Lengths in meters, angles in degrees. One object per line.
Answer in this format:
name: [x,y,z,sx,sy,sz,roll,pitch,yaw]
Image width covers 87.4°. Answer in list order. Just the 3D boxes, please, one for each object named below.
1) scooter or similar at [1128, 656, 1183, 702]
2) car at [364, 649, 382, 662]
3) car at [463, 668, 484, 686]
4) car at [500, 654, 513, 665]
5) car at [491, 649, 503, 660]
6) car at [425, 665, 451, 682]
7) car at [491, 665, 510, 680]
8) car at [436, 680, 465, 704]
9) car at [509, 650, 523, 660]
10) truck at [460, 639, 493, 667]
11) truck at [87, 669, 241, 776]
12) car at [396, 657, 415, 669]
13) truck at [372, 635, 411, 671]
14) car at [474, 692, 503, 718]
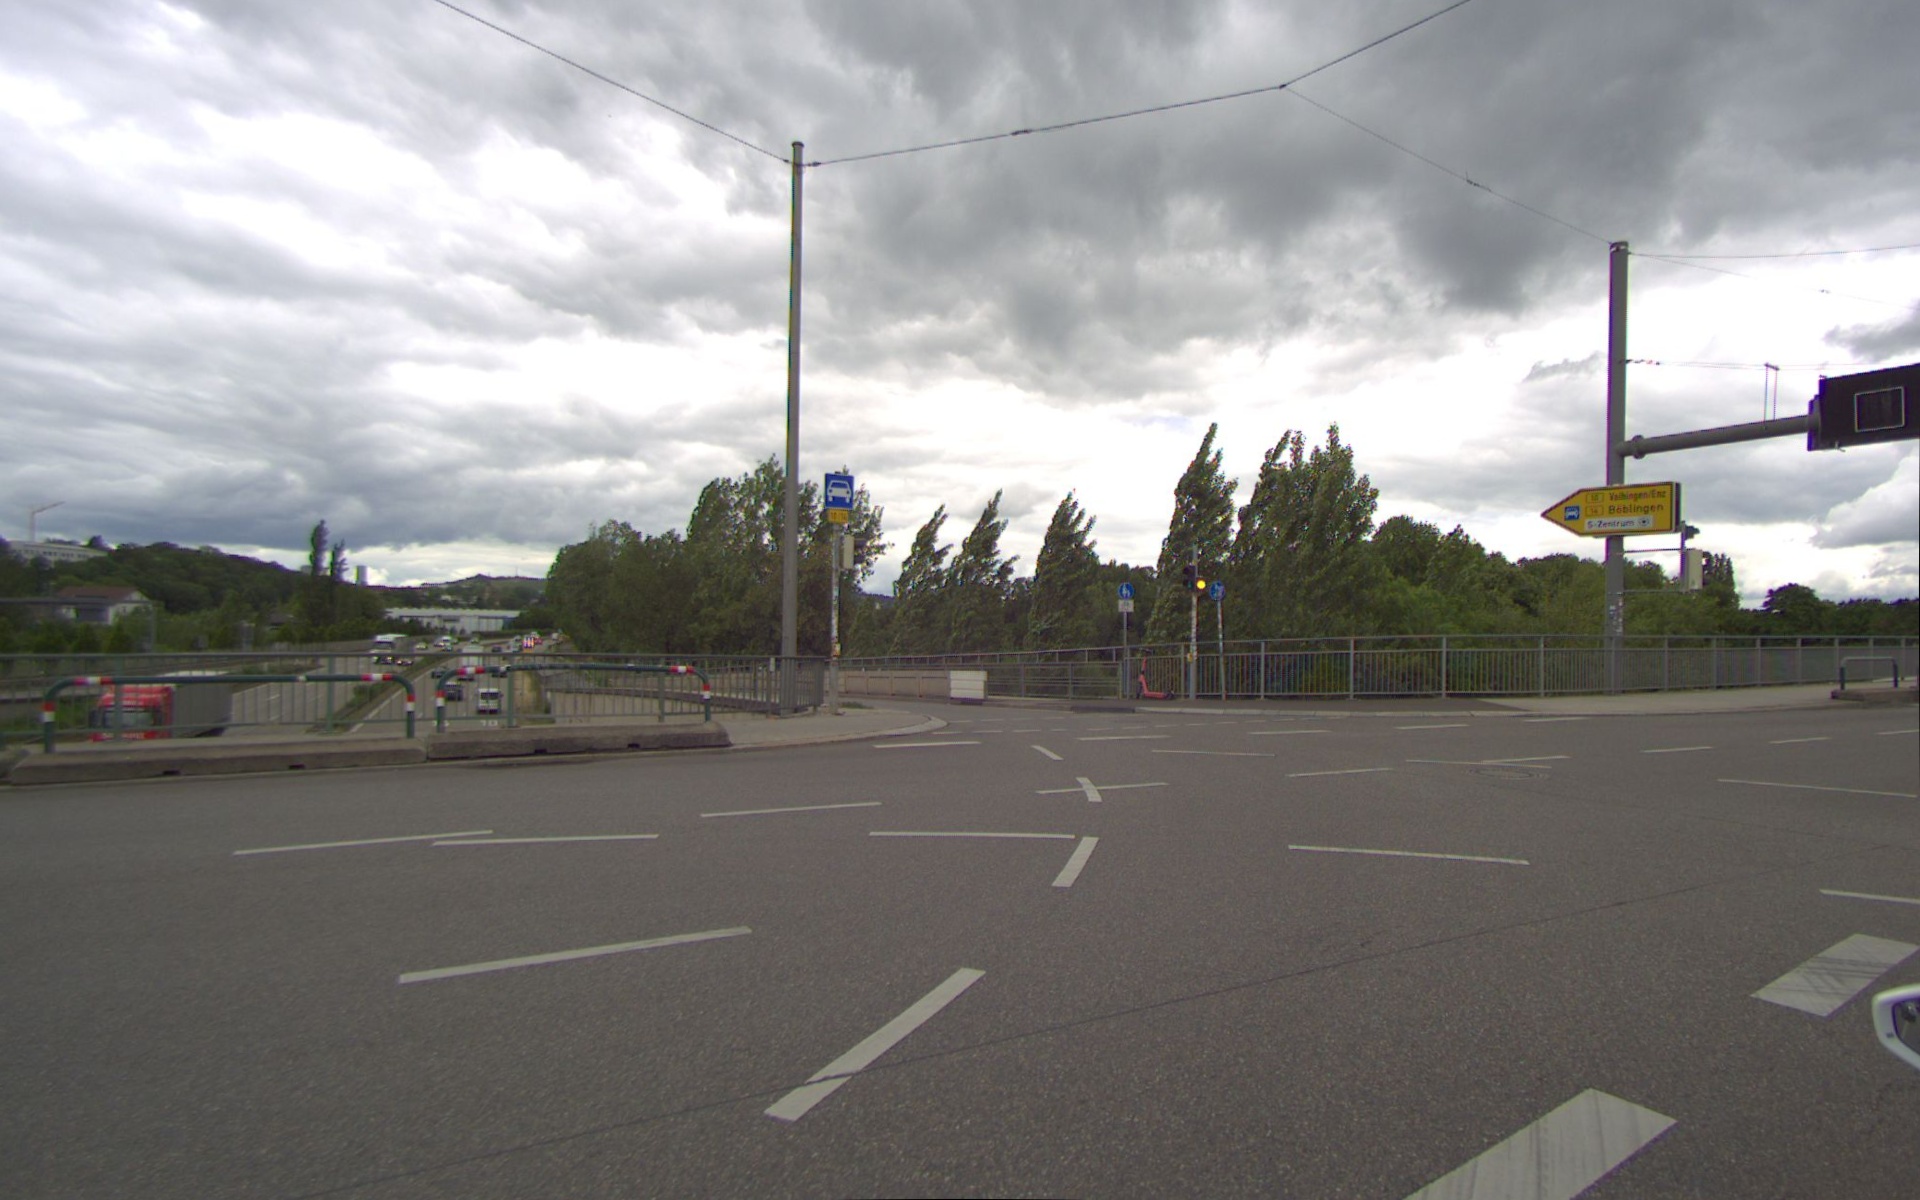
scooter or similar: [4.700,1.894,24.236,0.480,1.070,1.323,1,-4,-36]
car: [-96.695,9.206,165.492,1.970,2.040,3.981,0,-3,-21]
car: [-57.926,9.149,119.581,2.110,1.739,4.398,3,-2,-25]
car: [-80.474,10.572,178.278,2.110,1.739,4.398,3,-2,-25]
car: [-98.756,11.639,214.195,2.194,2.040,4.615,3,0,-23]
car: [-63.600,8.885,122.442,2.304,1.740,4.706,-1,0,-23]
car: [-59.110,9.313,129.127,2.110,1.586,4.398,3,-2,-25]
car: [-45.907,8.280,90.558,2.110,1.739,4.398,3,-2,-25]
car: [-95.900,11.928,216.845,2.562,2.040,4.616,3,-2,-23]
truck: [-65.663,7.204,136.588,3.546,3.501,8.192,4,-3,-24]
truck: [-42.261,6.234,53.986,2.849,4.413,13.187,2,-2,-22]
car: [-80.391,9.119,145.743,1.886,1.739,3.621,3,-4,-22]
truck: [-86.157,7.896,152.489,3.330,5.019,13.864,1,-1,-22]
car: [-39.317,8.762,83.807,2.110,1.739,4.398,3,-2,-25]
